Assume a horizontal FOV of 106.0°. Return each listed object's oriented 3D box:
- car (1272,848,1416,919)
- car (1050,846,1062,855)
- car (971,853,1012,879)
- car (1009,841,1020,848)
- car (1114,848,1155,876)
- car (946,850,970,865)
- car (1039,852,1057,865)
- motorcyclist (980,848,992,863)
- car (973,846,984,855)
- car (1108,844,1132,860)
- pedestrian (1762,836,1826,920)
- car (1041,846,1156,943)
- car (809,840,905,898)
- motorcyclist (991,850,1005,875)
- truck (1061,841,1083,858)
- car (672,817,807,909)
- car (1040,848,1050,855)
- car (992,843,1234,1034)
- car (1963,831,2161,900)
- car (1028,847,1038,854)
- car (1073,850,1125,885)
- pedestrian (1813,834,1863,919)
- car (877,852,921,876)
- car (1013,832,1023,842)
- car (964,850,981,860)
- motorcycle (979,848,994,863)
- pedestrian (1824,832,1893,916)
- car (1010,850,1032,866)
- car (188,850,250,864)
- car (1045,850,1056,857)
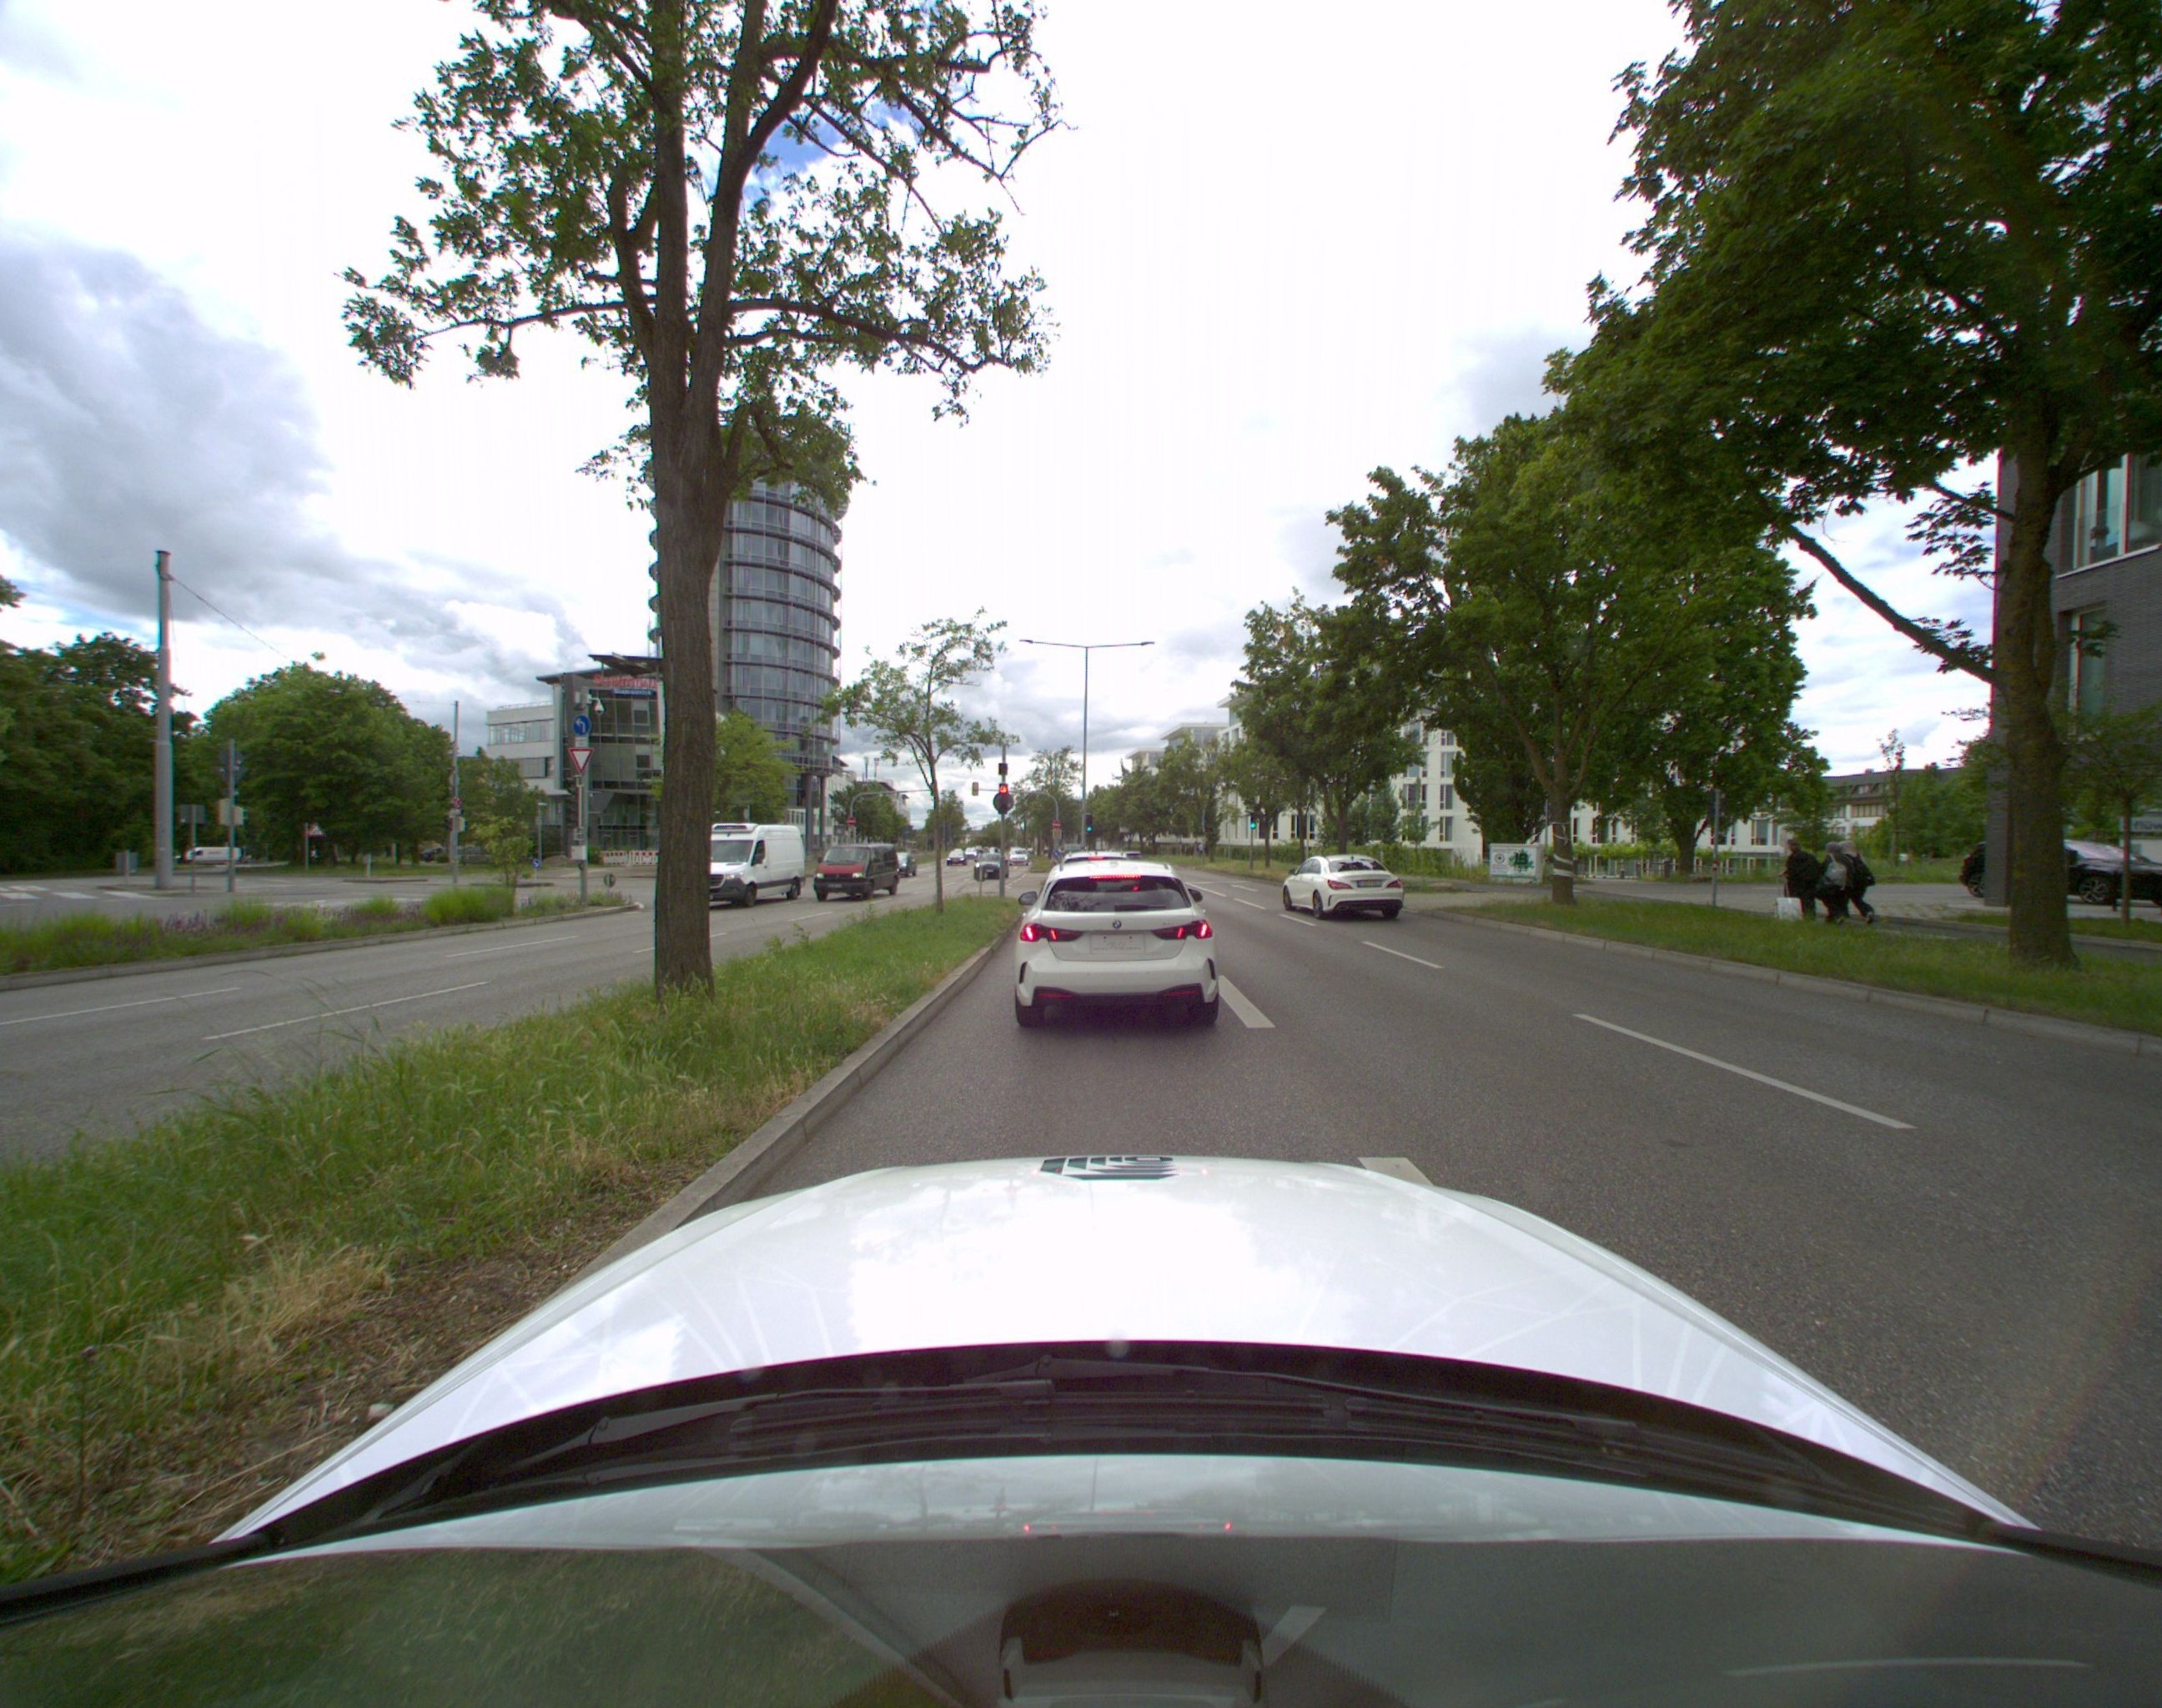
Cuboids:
[{"bbox_3d":[6.037,0.636,19.306,1.789,1.472,4.696,0,0,-2],"label":"car"},{"bbox_3d":[-4.460,-0.651,146.206,1.991,1.508,3.993,0,0,-5],"label":"car"},{"bbox_3d":[-4.998,0.670,46.013,1.747,1.371,3.781,-1,0,2],"label":"car"},{"bbox_3d":[-15.670,-2.194,192.277,1.986,1.618,4.002,2,0,2],"label":"car"},{"bbox_3d":[3.074,0.442,47.718,2.046,1.486,4.973,-2,0,0],"label":"car"},{"bbox_3d":[-12.029,0.312,79.758,1.701,1.419,3.804,-1,0,2],"label":"car"},{"bbox_3d":[-3.617,0.527,89.949,1.661,1.405,4.002,0,0,2],"label":"car"},{"bbox_3d":[-9.116,0.162,78.374,0.906,1.392,1.674,0,0,2],"label":"motorcyclist"},{"bbox_3d":[-23.341,-0.743,185.101,1.988,2.011,4.322,0,0,-1],"label":"car"},{"bbox_3d":[3.984,-0.179,83.683,1.991,1.596,3.992,0,0,-5],"label":"car"},{"bbox_3d":[13.536,0.449,15.480,0.721,1.552,0.588,0,0,7],"label":"pedestrian"},{"bbox_3d":[0.392,0.709,16.079,1.985,1.672,4.002,0,0,3],"label":"car"},{"bbox_3d":[-7.929,0.489,29.371,1.928,1.918,4.975,0,0,2],"label":"car"},{"bbox_3d":[-6.193,0.653,60.637,0.845,1.837,1.260,0,0,2],"label":"motorcyclist"},{"bbox_3d":[-1.427,-0.666,128.111,2.857,2.519,6.271,0,0,-7],"label":"truck"},{"bbox_3d":[-10.888,0.252,26.564,1.988,2.634,5.872,1,0,-1],"label":"car"},{"bbox_3d":[-7.781,-0.569,174.643,1.988,1.490,3.999,1,0,-1],"label":"car"},{"bbox_3d":[0.389,0.653,8.257,1.855,1.449,4.004,0,0,4],"label":"car"},{"bbox_3d":[25.087,0.257,20.319,1.817,1.552,4.183,0,0,4],"label":"car"},{"bbox_3d":[-10.388,-0.676,175.142,1.988,1.490,3.999,1,0,-1],"label":"car"},{"bbox_3d":[0.892,0.588,37.362,1.983,1.508,4.008,0,0,7],"label":"car"},{"bbox_3d":[14.195,0.415,15.281,0.407,1.552,0.563,2,-1,7],"label":"pedestrian"},{"bbox_3d":[-11.131,0.585,50.081,1.701,1.419,4.020,-1,0,1],"label":"car"},{"bbox_3d":[-13.537,-3.693,175.011,1.988,2.011,4.322,2,0,-1],"label":"car"},{"bbox_3d":[-15.005,0.134,112.933,1.701,1.419,3.804,-1,0,2],"label":"car"},{"bbox_3d":[-9.106,0.117,78.549,0.886,1.398,4.002,0,0,2],"label":"motorcycle"},{"bbox_3d":[14.854,0.368,15.572,0.586,1.552,0.745,2,0,7],"label":"pedestrian"},{"bbox_3d":[-5.686,0.340,77.772,1.701,1.497,3.804,-1,0,2],"label":"car"},{"bbox_3d":[-127.576,0.481,120.656,1.977,2.013,6.012,0,0,19],"label":"car"},{"bbox_3d":[-6.398,-0.133,171.891,1.992,1.508,3.990,0,0,-7],"label":"car"}]
